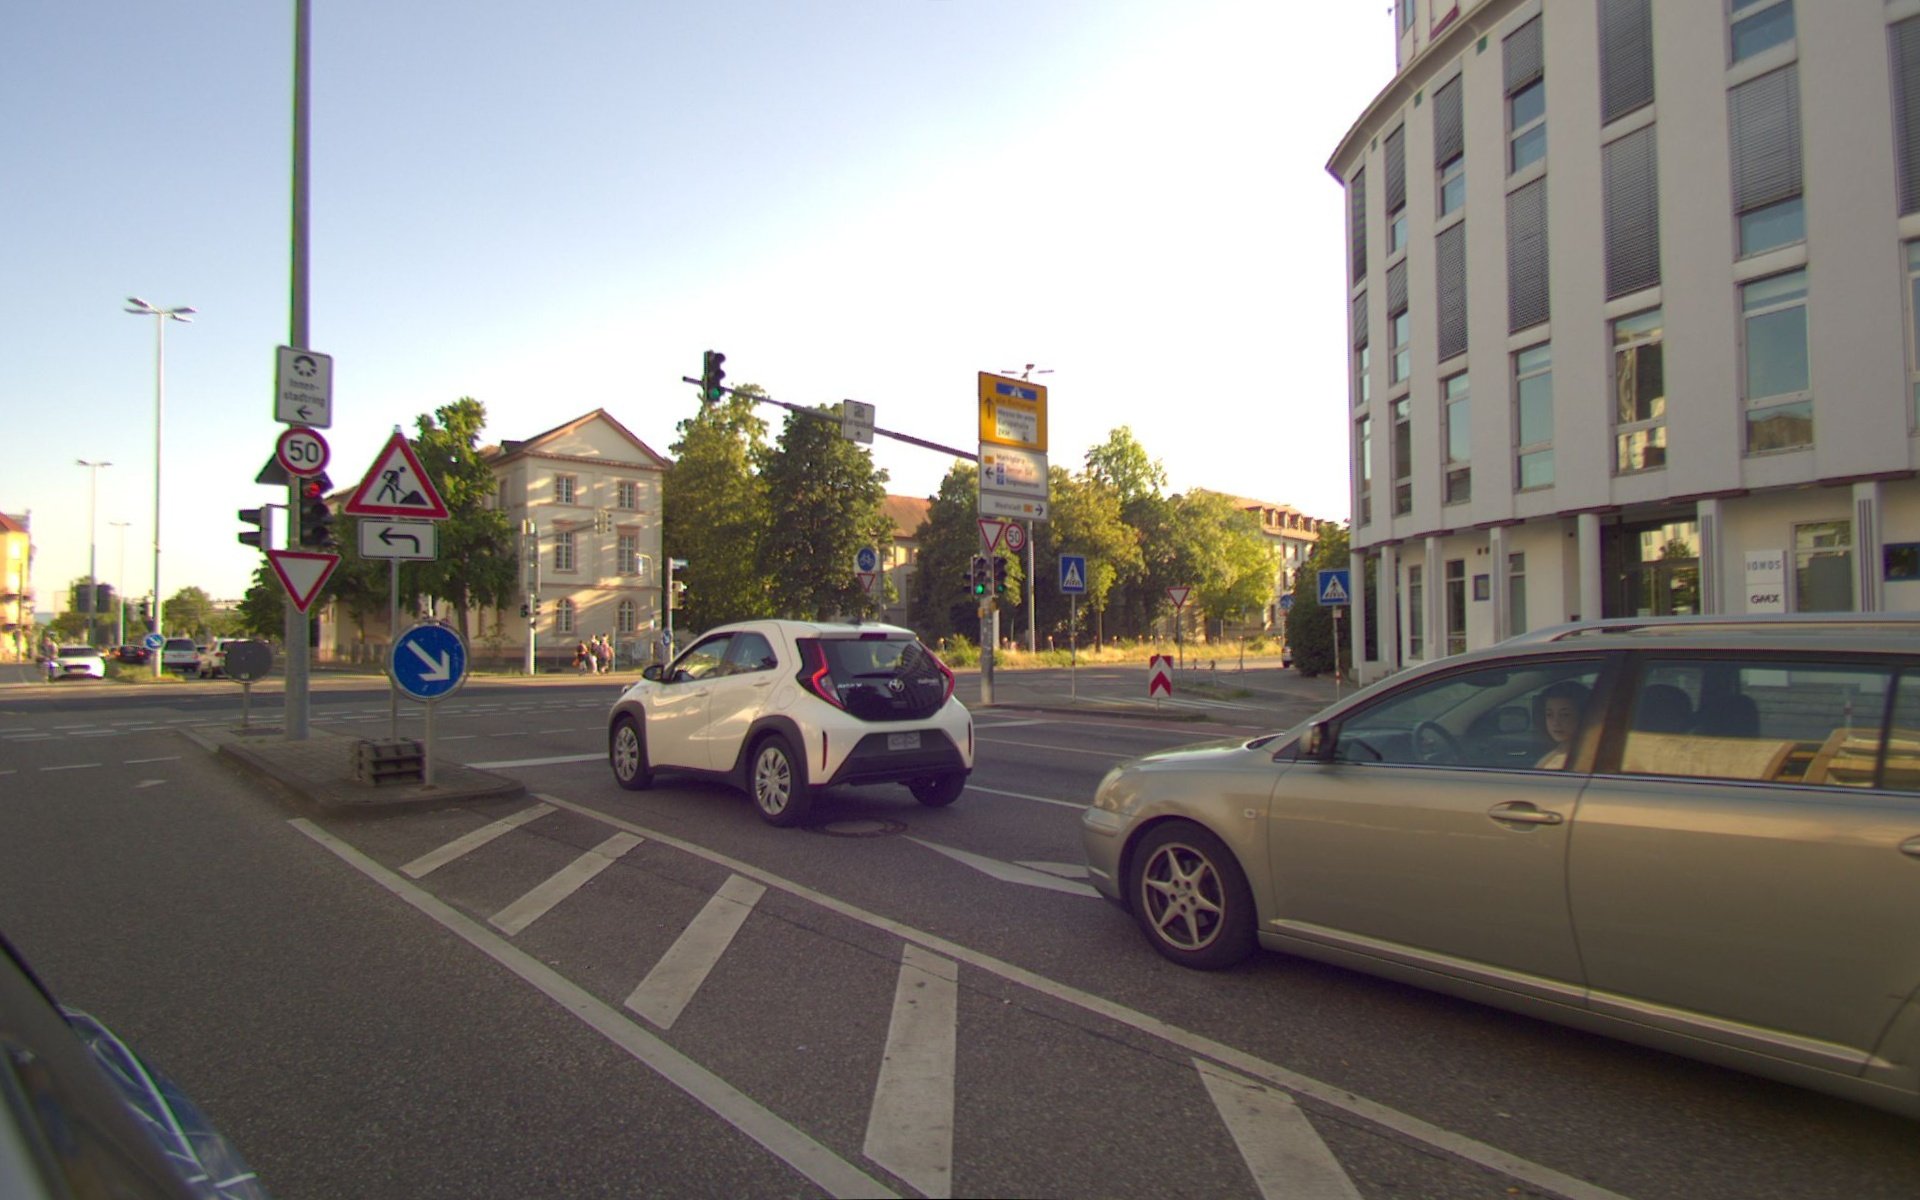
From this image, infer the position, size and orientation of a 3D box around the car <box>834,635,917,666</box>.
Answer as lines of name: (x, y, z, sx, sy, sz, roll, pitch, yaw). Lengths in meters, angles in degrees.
car: (-4.085, 2.433, 49.171, 2.000, 1.457, 3.595, -3, -3, 42)

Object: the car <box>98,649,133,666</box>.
car: (-76.153, 5.188, 91.268, 2.019, 1.474, 4.295, 2, -4, -45)

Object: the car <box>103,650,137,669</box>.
car: (-68.133, 4.823, 82.059, 1.740, 1.474, 4.295, 2, -4, -45)

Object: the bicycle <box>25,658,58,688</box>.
bicycle: (-35.345, 2.794, 38.934, 0.822, 1.116, 2.082, 2, -4, -45)

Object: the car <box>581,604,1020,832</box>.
car: (-1.533, 0.858, 8.601, 1.806, 1.472, 3.905, 2, -3, -43)

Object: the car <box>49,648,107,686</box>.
car: (-37.684, 2.833, 43.226, 1.739, 1.510, 3.711, 2, -3, -43)

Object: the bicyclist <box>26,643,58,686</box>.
bicyclist: (-35.317, 2.457, 38.946, 0.826, 1.616, 1.024, 2, -4, -45)

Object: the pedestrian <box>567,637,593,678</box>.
pedestrian: (-15.383, 2.329, 41.001, 0.889, 1.663, 0.613, -3, -3, 38)

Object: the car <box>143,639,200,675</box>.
car: (-42.949, 3.068, 55.101, 4.948, 1.861, 1.807, -3, -4, 44)

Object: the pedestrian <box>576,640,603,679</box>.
pedestrian: (-16.407, 2.639, 44.856, 1.083, 1.721, 0.669, -3, -3, 38)

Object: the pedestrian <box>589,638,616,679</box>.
pedestrian: (-14.841, 2.425, 42.001, 0.882, 1.663, 0.670, -3, -3, 38)

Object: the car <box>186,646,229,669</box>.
car: (-51.312, 3.898, 68.971, 1.740, 1.474, 4.295, 2, -4, -45)

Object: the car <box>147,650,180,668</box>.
car: (-68.452, 5.076, 86.942, 1.740, 1.474, 4.295, 2, -4, -45)

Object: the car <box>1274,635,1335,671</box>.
car: (17.620, 2.694, 51.686, 1.994, 1.741, 3.954, -2, -3, 33)

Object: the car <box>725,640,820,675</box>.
car: (-8.146, 2.478, 44.085, 2.000, 1.457, 3.595, -3, -3, 42)

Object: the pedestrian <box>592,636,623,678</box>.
pedestrian: (-15.843, 2.564, 45.509, 1.168, 1.863, 0.810, -3, -3, 38)

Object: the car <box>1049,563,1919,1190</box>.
car: (2.602, 0.717, 3.573, 1.805, 1.526, 4.611, 1, -3, -40)

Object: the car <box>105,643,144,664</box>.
car: (-59.511, 3.809, 72.075, 1.740, 1.474, 4.295, 2, -4, -45)

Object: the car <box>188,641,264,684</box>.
car: (-31.061, 2.603, 42.765, 4.442, 1.719, 1.807, -3, -3, 44)
